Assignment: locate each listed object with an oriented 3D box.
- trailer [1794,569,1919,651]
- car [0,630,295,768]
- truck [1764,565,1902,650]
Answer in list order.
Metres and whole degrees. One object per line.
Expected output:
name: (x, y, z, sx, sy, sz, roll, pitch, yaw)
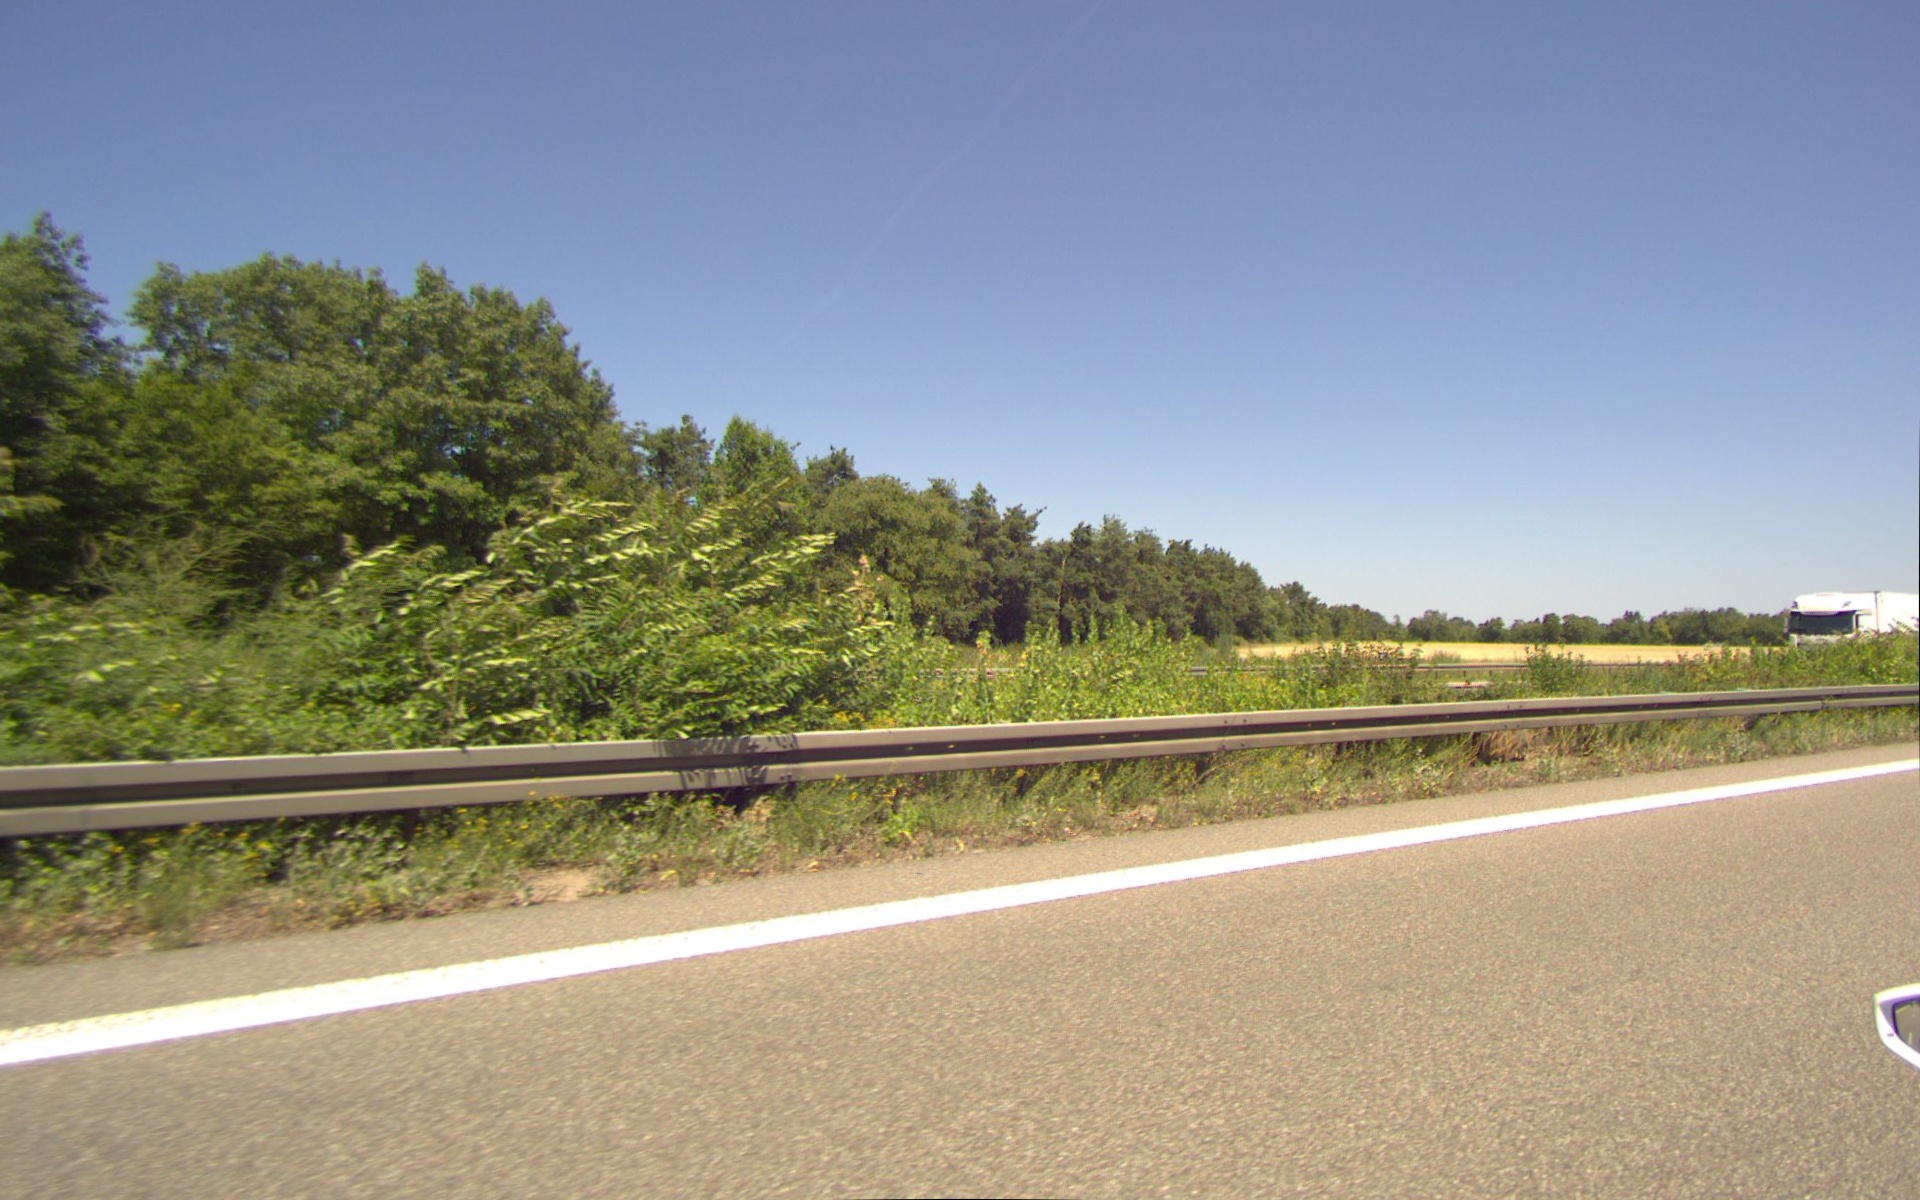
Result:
trailer: (47.469, 0.623, 51.071, 14.216, 3.748, 3.164, 2, 0, -31)
car: (-10.053, 1.083, 11.662, 3.757, 1.444, 1.706, 2, -2, -31)
truck: (41.063, 0.405, 47.240, 5.966, 3.748, 3.164, 2, 0, -31)
